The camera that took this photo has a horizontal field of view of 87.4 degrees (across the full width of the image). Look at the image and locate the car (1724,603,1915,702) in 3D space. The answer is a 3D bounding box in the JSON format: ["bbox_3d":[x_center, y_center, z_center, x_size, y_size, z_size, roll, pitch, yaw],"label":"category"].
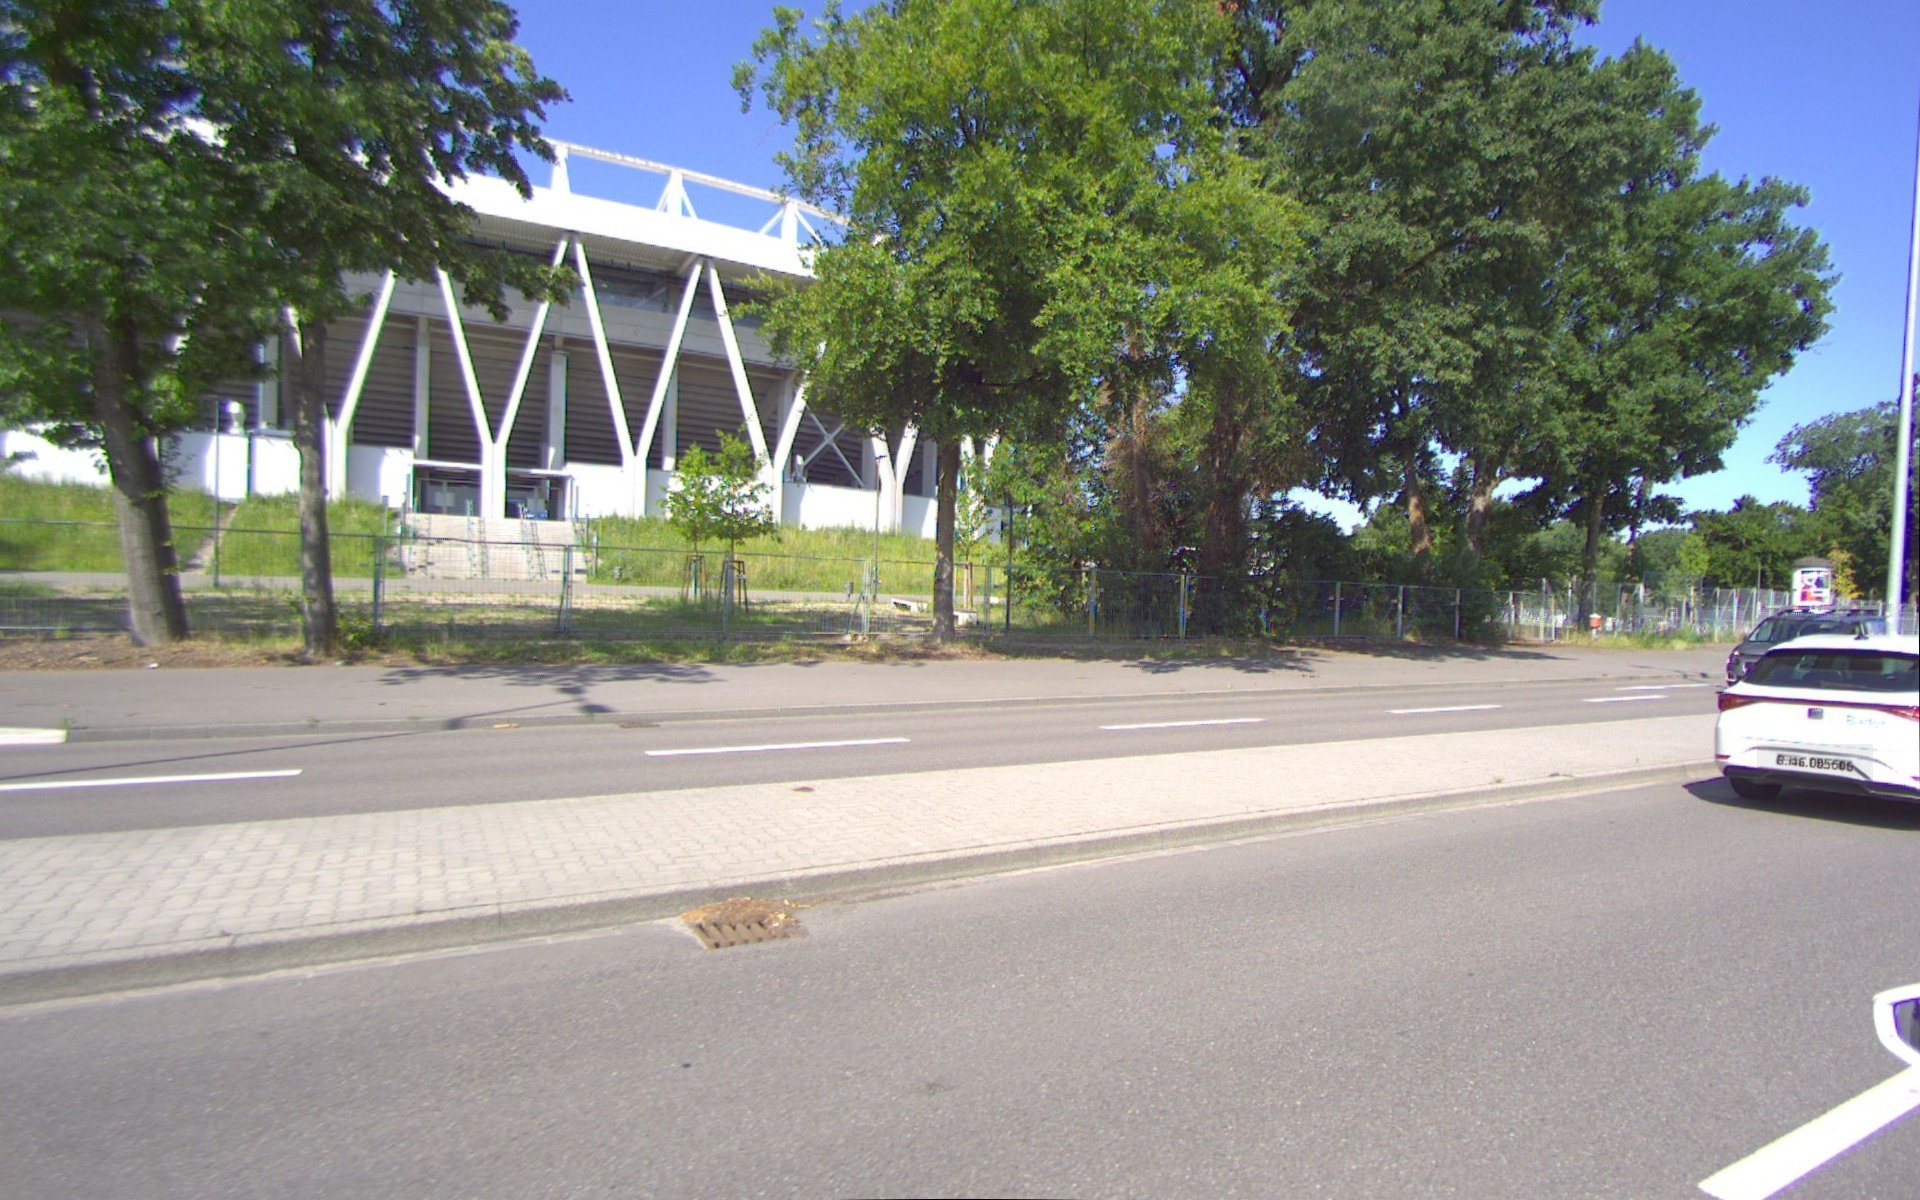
[{"bbox_3d":[18.745,1.089,21.854,4.577,1.958,1.831,1,0,-31],"label":"car"}]

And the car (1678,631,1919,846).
[{"bbox_3d":[8.383,1.023,8.744,4.664,1.446,1.717,1,0,-30],"label":"car"}]
